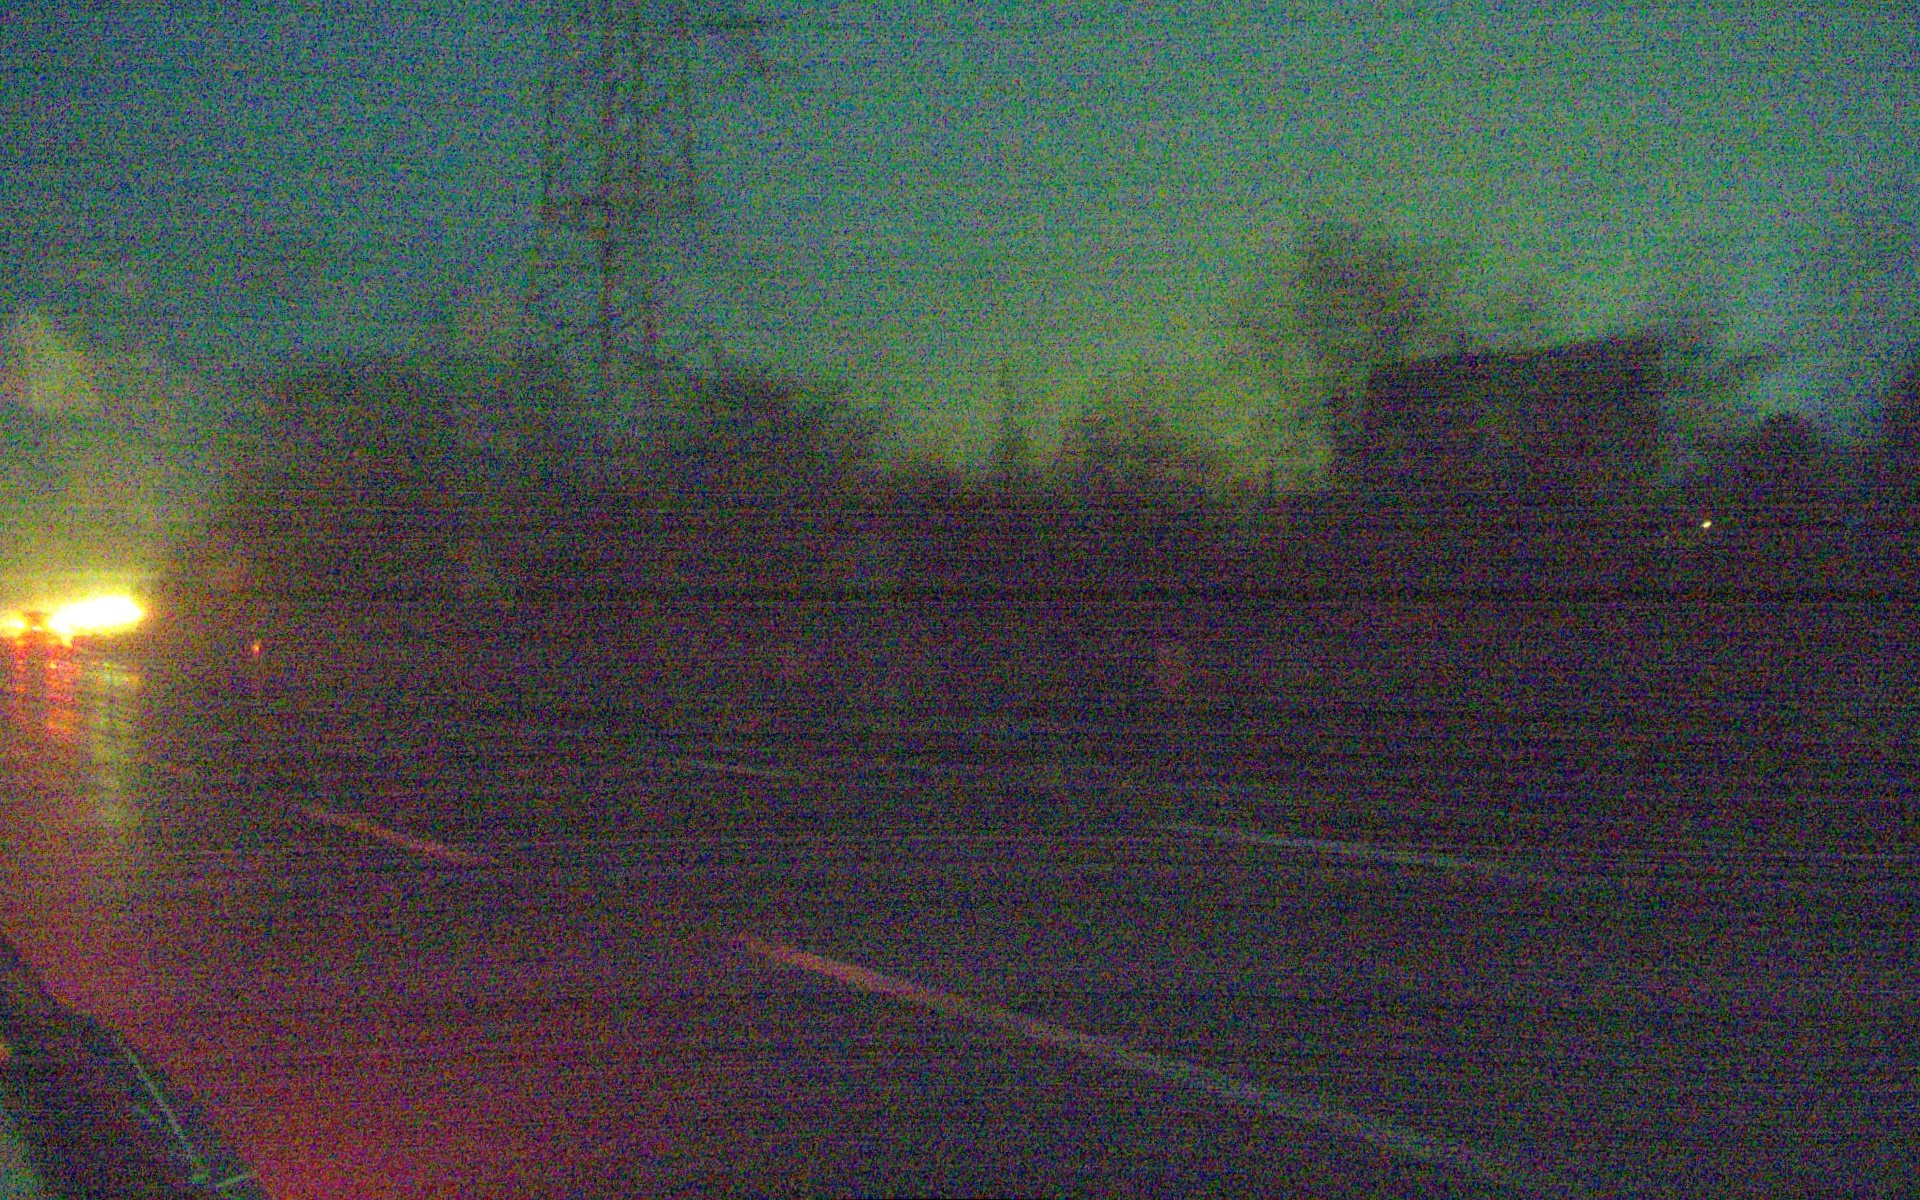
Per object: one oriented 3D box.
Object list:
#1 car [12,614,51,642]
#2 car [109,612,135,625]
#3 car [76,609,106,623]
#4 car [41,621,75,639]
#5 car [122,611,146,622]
[{"bbox_3d":[-63.284,1.872,69.005,1.837,1.760,4.970,0,0,-41],"label":"car"},{"bbox_3d":[-97.405,2.152,117.664,1.747,1.399,4.245,0,0,-31],"label":"car"},{"bbox_3d":[-88.810,1.611,103.479,1.747,1.399,4.245,0,0,-32],"label":"car"},{"bbox_3d":[-78.443,2.579,88.033,1.747,1.399,4.046,0,0,-35],"label":"car"},{"bbox_3d":[-102.238,2.023,125.283,1.747,1.399,4.125,0,0,-31],"label":"car"}]
